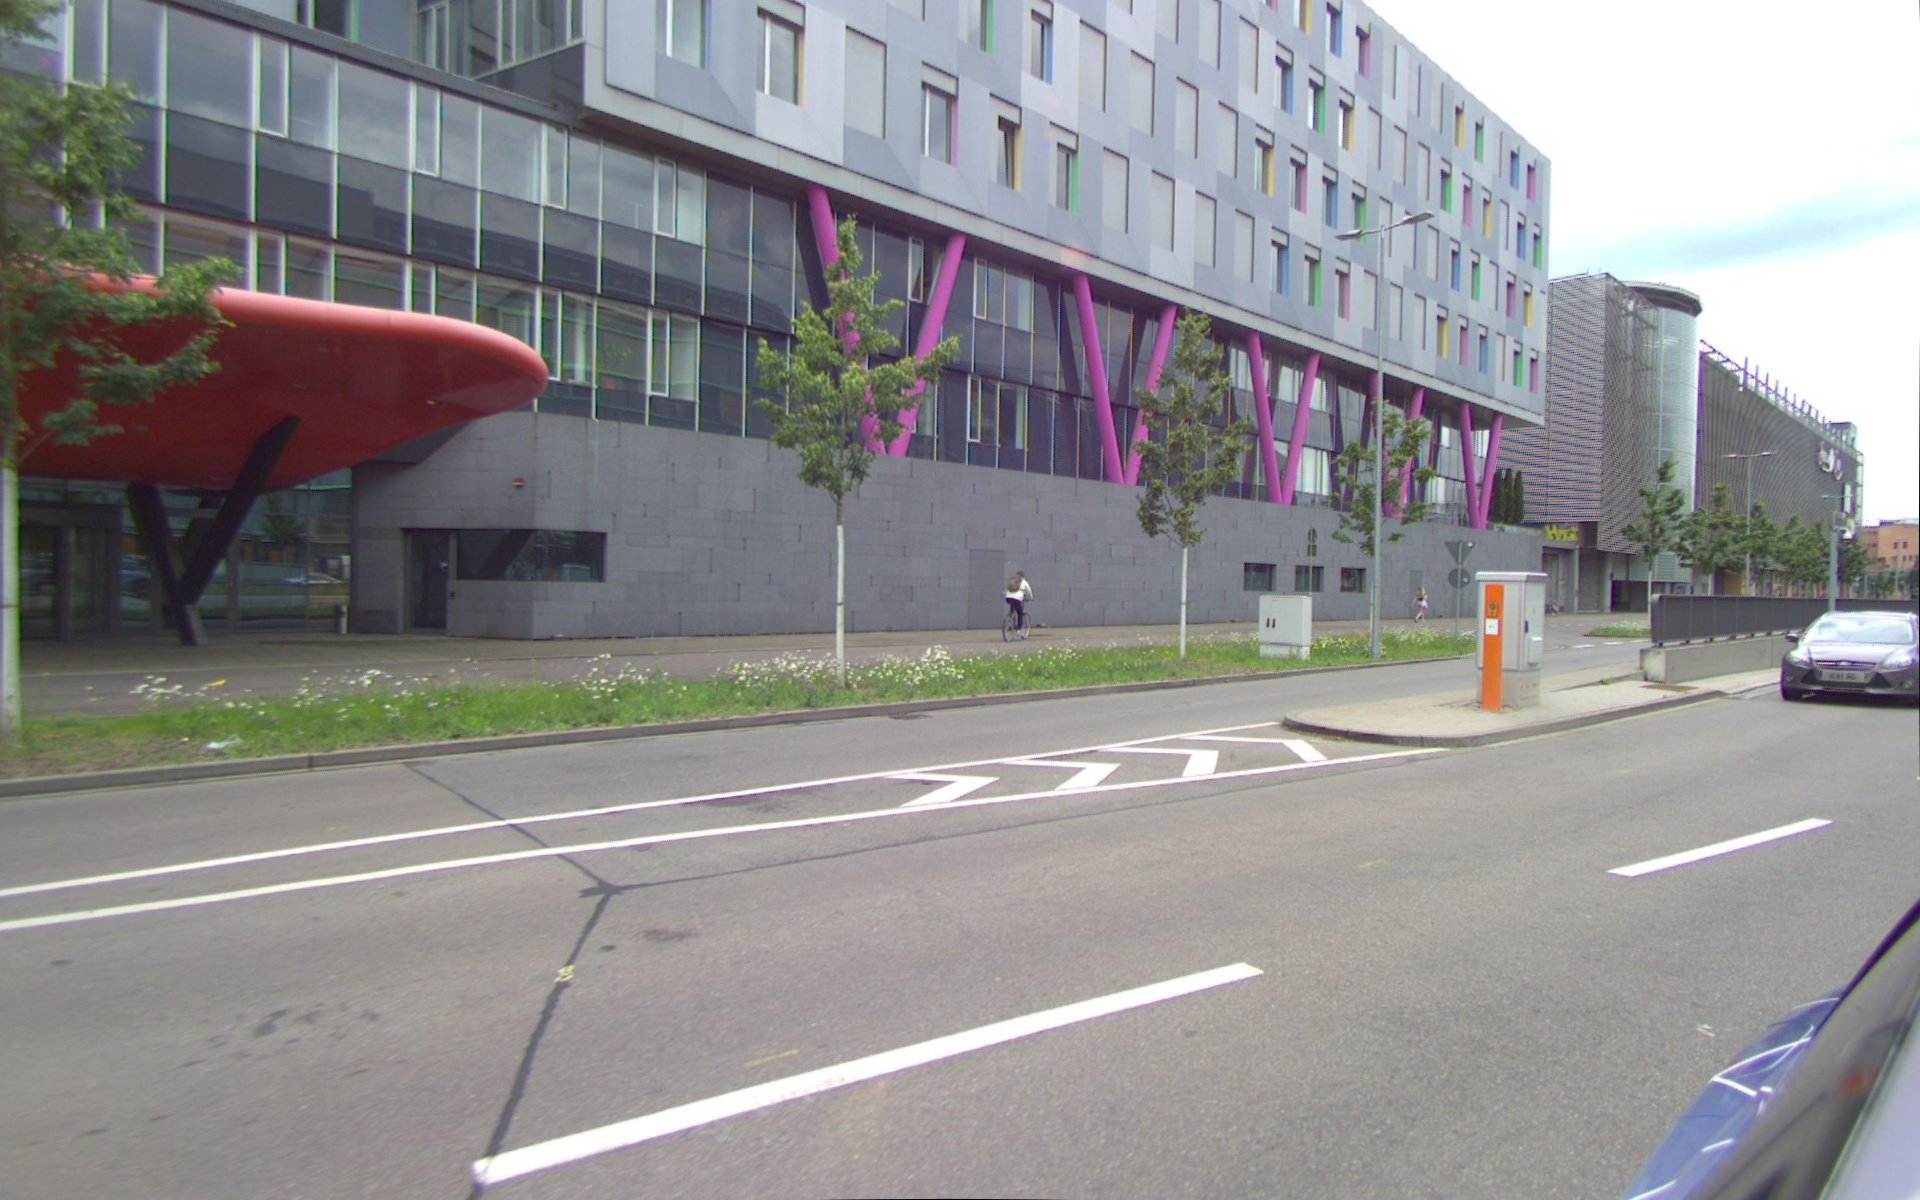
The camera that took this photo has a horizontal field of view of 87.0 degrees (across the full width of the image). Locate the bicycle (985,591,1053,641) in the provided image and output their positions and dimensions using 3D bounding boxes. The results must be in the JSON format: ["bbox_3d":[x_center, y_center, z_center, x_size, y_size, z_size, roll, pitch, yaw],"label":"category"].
[{"bbox_3d":[1.538,0.389,26.159,0.779,1.209,2.195,2,1,32],"label":"bicycle"}]

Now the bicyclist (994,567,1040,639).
[{"bbox_3d":[1.470,0.070,26.048,0.767,1.809,0.963,2,1,32],"label":"bicyclist"}]

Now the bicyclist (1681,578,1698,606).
[{"bbox_3d":[48.278,-0.524,66.985,0.692,1.826,0.783,5,-3,-42],"label":"bicyclist"}]

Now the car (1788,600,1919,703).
[{"bbox_3d":[15.511,0.790,17.052,4.194,1.518,1.751,1,1,-41],"label":"car"}]

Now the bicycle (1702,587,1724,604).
[{"bbox_3d":[52.169,-0.291,70.090,2.304,1.173,0.800,1,0,-42],"label":"bicycle"}]

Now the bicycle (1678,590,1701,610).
[{"bbox_3d":[48.290,0.002,66.986,2.304,1.173,0.800,5,-3,-42],"label":"bicycle"}]

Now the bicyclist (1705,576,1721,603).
[{"bbox_3d":[52.171,-0.730,70.088,0.692,1.825,0.783,1,-1,-42],"label":"bicyclist"}]
